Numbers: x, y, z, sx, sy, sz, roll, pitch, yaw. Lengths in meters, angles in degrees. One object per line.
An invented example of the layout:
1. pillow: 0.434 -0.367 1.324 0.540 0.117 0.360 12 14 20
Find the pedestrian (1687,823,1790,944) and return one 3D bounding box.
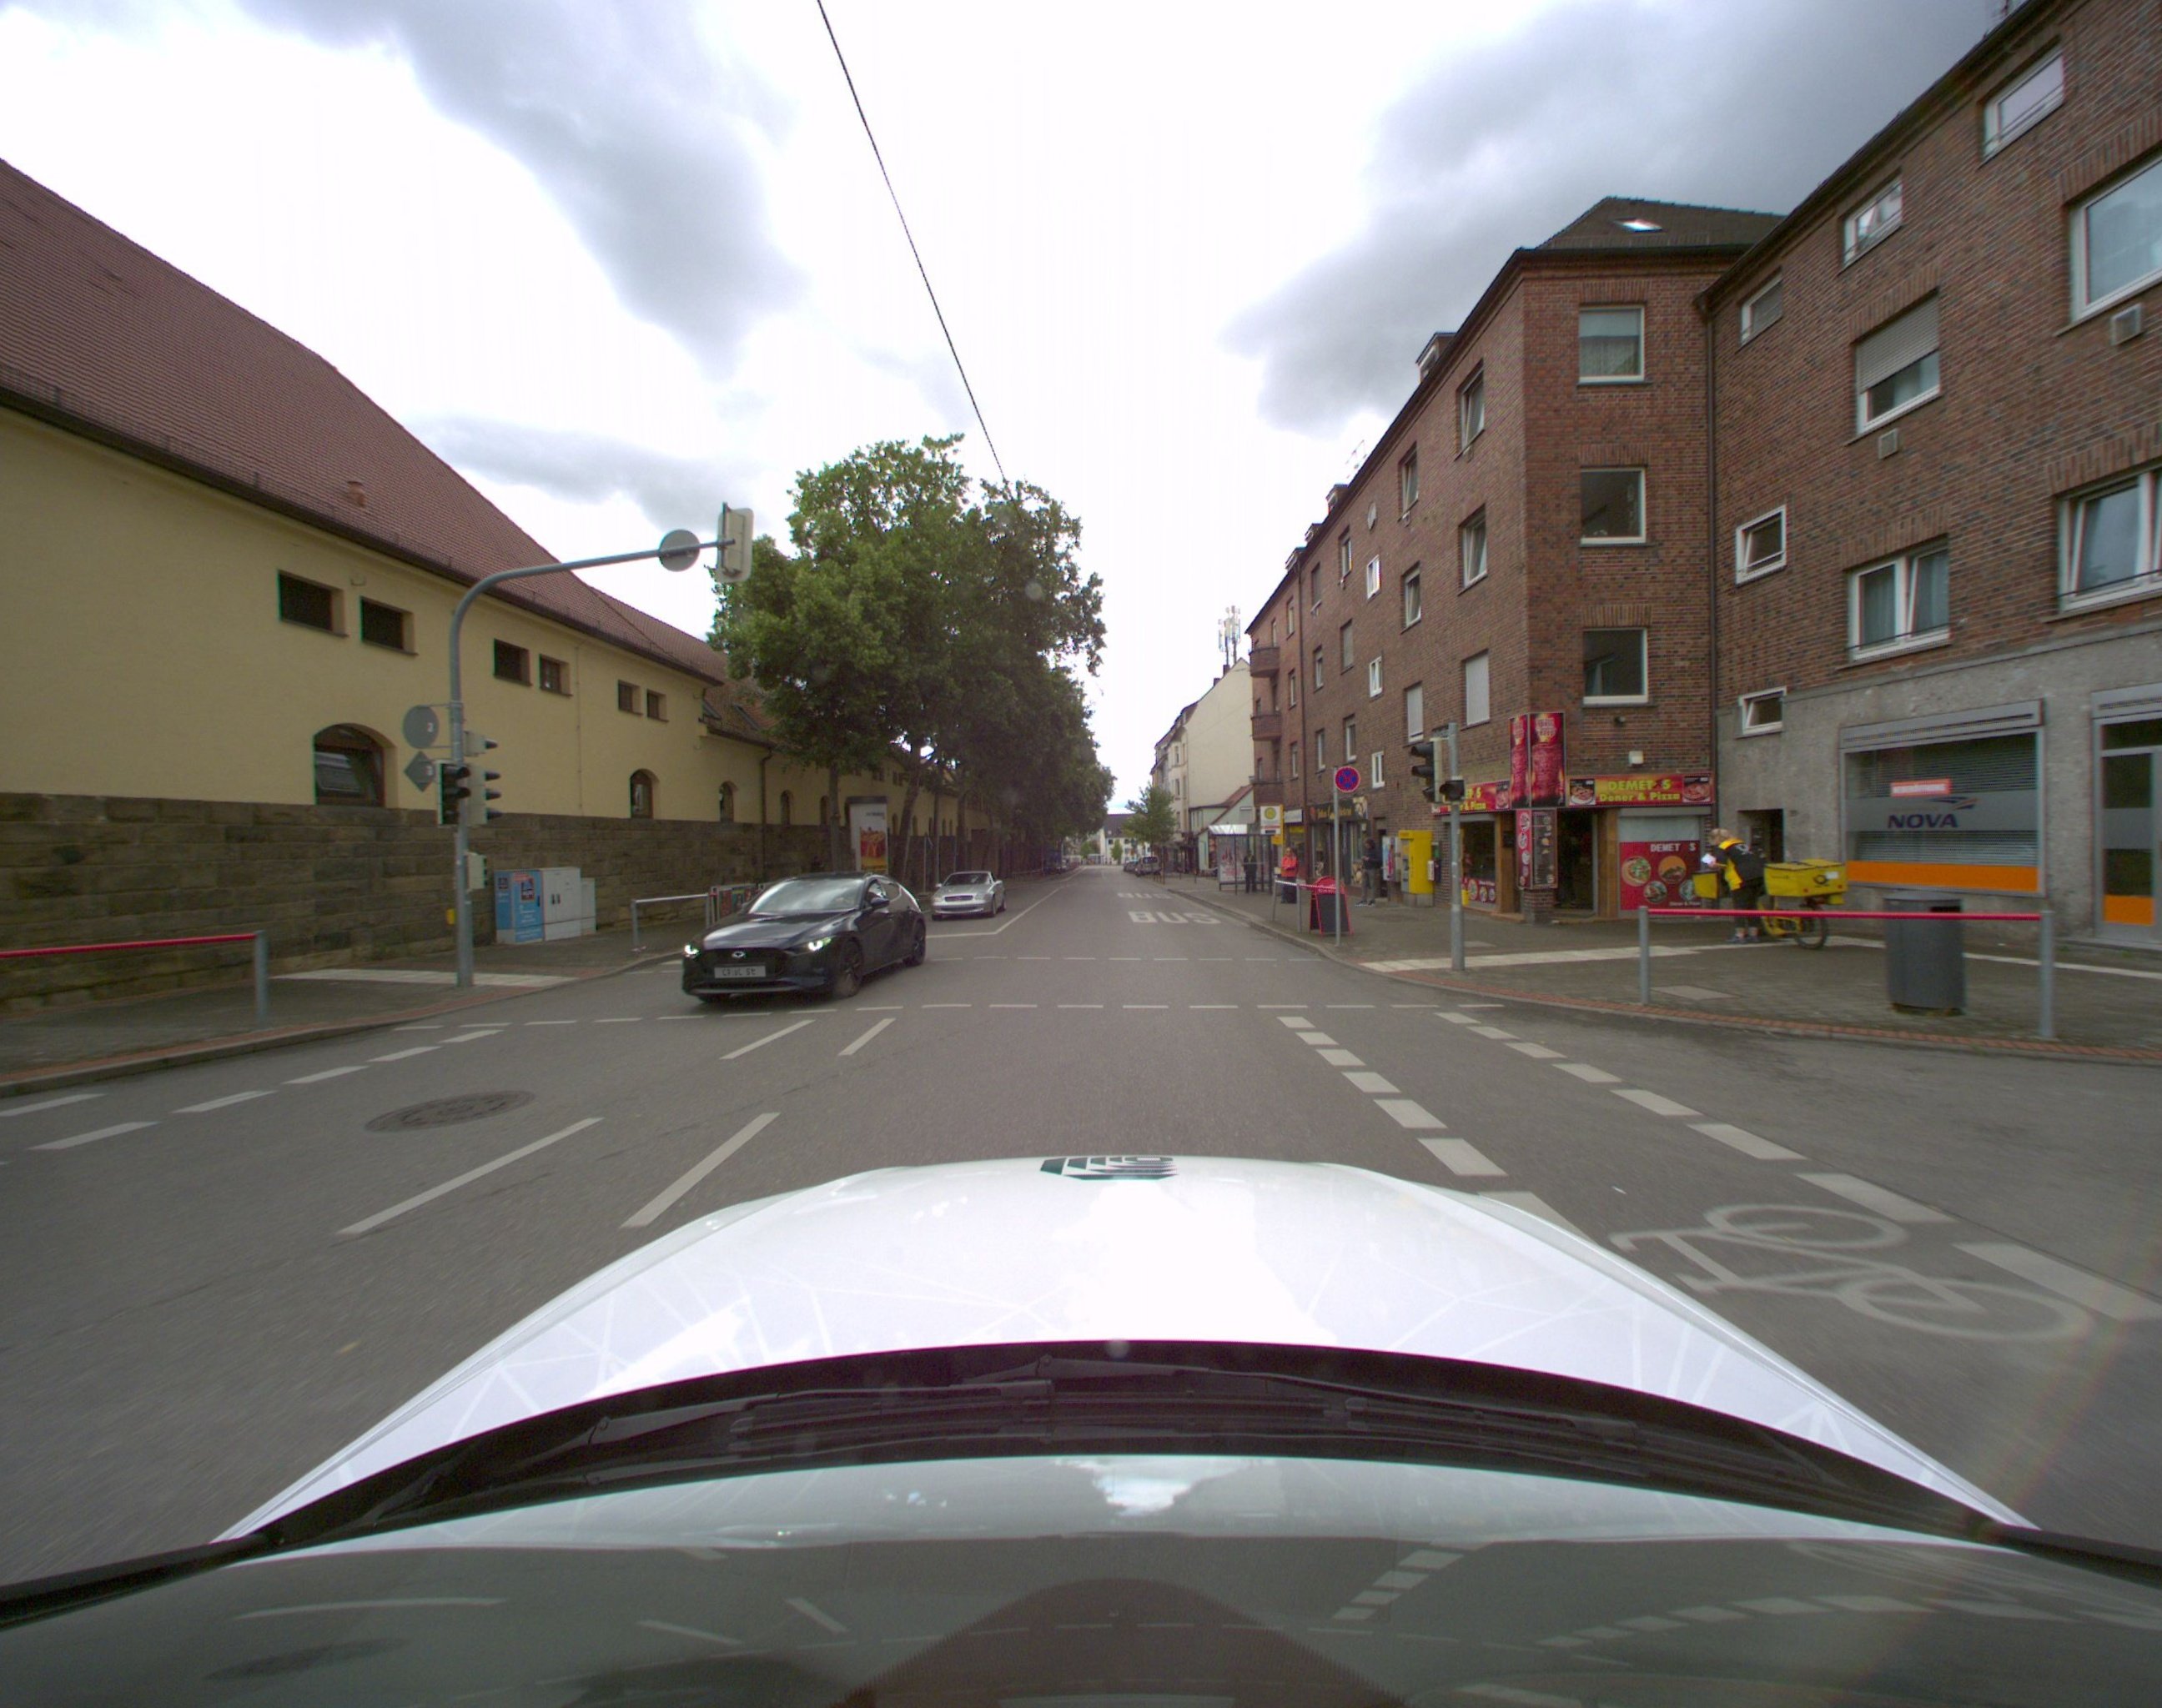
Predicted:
1. pedestrian: 9.535 0.419 11.837 0.785 1.656 0.772 -3 -1 1

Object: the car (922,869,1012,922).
1. car: -3.148 1.113 23.267 1.678 1.275 4.098 -4 -1 3

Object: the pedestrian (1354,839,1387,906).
1. pedestrian: 7.740 0.479 21.794 0.644 1.750 0.779 -1 -1 6

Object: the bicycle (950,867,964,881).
1. bicycle: -9.579 1.540 63.058 0.594 1.091 2.196 1 0 3

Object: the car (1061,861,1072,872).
1. car: -2.212 1.884 124.923 1.529 1.639 3.716 -1 0 -1

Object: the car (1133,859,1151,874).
1. car: 6.794 1.393 90.714 1.664 1.547 3.754 -1 0 -1

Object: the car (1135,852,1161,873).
1. car: 6.321 0.769 77.317 1.988 1.936 4.916 -1 0 -1

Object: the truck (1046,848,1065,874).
1. truck: -3.500 0.957 113.492 2.223 3.346 7.449 -1 0 1

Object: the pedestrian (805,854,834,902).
1. pedestrian: -9.868 0.893 30.719 0.774 1.795 0.875 -1 -1 1

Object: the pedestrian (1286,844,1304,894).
1. pedestrian: 7.597 0.533 28.899 0.477 1.765 0.458 -1 -1 1

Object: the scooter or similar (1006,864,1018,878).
1. scooter or similar: -6.306 1.548 74.199 1.028 1.184 0.490 -1 -1 -8

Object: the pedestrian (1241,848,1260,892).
1. pedestrian: 6.732 0.636 32.347 0.666 1.727 0.765 -1 -1 6

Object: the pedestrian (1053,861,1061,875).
1. pedestrian: -2.754 1.635 93.983 0.677 1.536 0.604 -1 -1 -34

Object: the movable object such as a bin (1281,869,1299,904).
1. movable object such as a bin: 6.286 0.975 24.514 0.449 1.056 0.412 -1 -1 21

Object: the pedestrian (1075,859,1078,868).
1. pedestrian: -0.915 1.997 176.810 0.631 2.014 0.785 -1 -1 3

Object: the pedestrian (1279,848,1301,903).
1. pedestrian: 6.365 0.657 24.807 0.560 1.637 0.684 -1 -1 21

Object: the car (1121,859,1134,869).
1. car: 7.477 1.559 130.758 1.664 1.547 3.754 -1 0 -1

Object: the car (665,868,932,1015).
1. car: -3.342 0.948 10.597 1.695 1.414 4.197 -2 0 4

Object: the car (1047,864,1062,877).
1. car: -3.380 2.068 104.101 1.829 1.578 3.754 -1 0 -2

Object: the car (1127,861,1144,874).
1. car: 6.722 1.597 100.561 1.664 1.547 3.754 -1 0 -1

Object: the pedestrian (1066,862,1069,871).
1. pedestrian: -3.116 2.713 183.277 0.631 1.995 0.785 -1 -1 3

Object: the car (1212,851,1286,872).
1. car: 12.118 0.562 58.906 4.856 1.469 1.941 -1 0 28

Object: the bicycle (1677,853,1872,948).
1. bicycle: 9.681 0.599 11.539 0.757 1.193 2.392 -1 0 1
